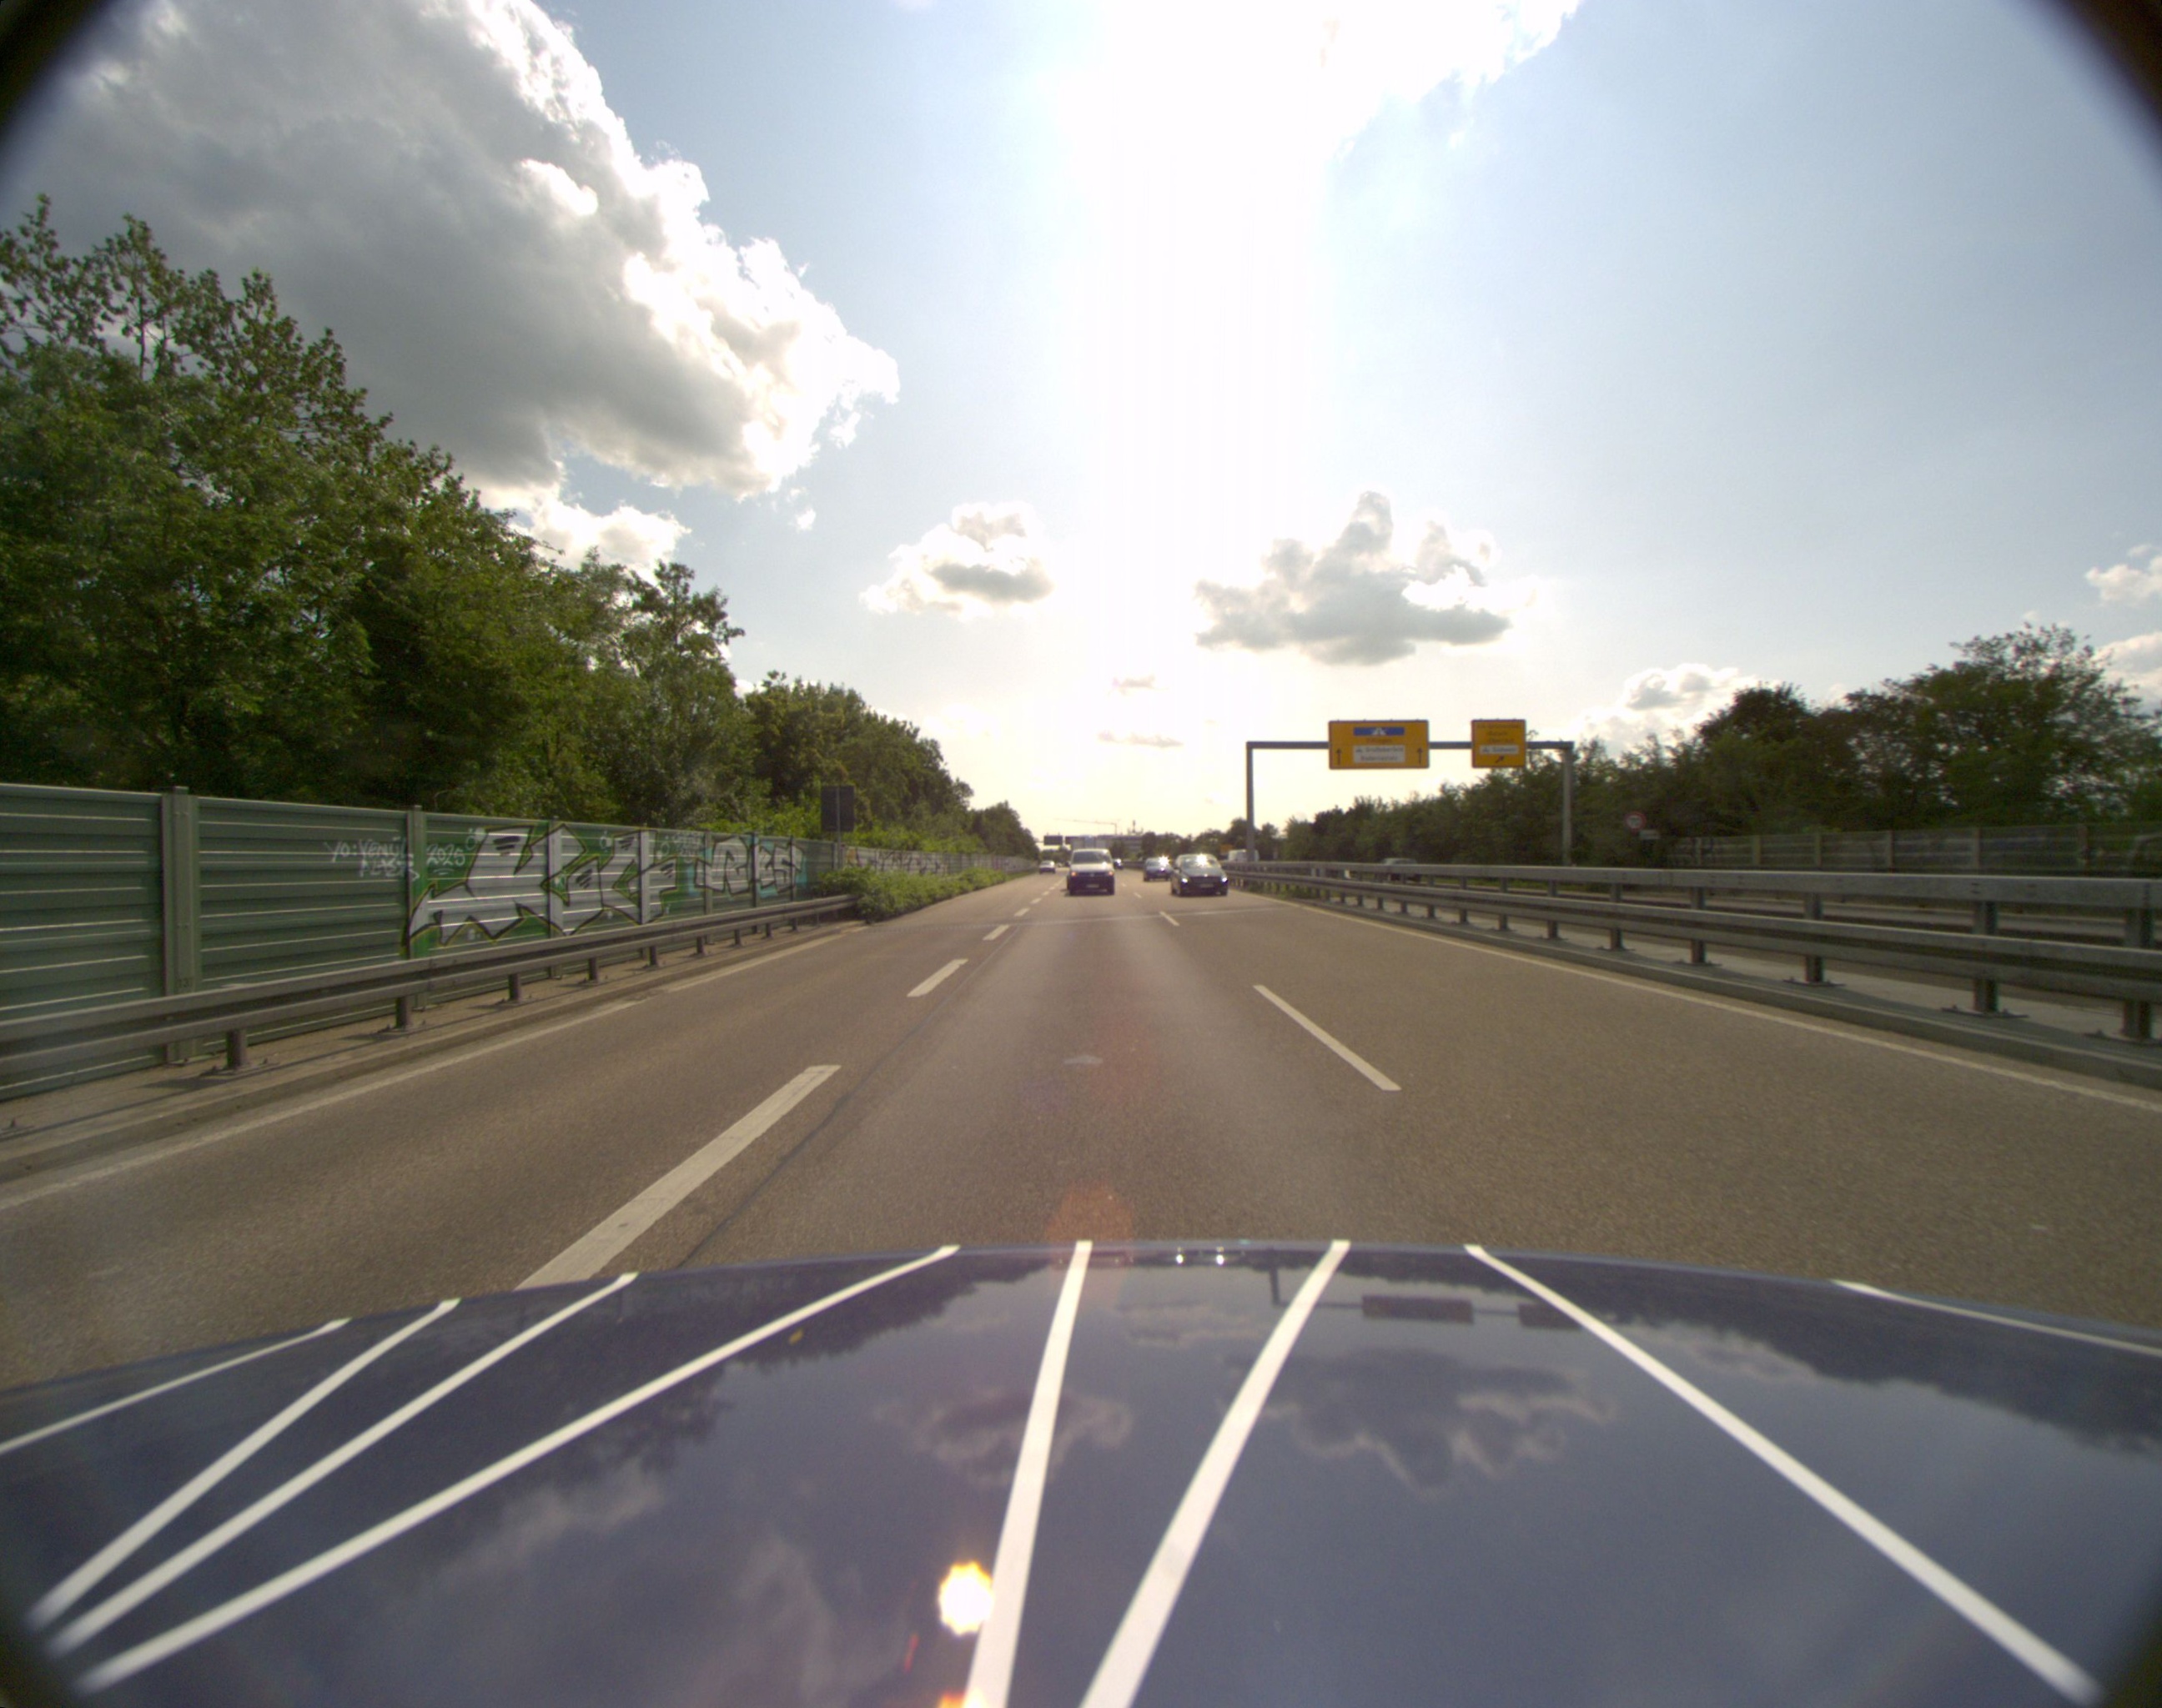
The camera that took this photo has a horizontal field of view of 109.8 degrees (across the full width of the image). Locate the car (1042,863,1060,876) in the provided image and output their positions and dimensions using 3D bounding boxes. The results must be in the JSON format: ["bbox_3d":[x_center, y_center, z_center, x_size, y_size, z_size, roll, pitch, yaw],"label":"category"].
[{"bbox_3d":[-3.420,1.749,86.707,1.768,1.403,3.771,-2,1,1],"label":"car"}]

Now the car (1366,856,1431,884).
[{"bbox_3d":[18.162,0.881,43.681,1.693,1.423,4.401,-2,1,-2],"label":"car"}]

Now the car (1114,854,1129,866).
[{"bbox_3d":[5.401,0.782,100.922,1.779,1.518,4.465,-2,1,1],"label":"car"}]

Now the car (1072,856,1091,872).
[{"bbox_3d":[0.056,0.999,80.246,1.895,1.518,4.465,-2,1,1],"label":"car"}]

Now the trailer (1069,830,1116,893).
[{"bbox_3d":[0.542,0.306,36.550,1.998,2.723,5.966,-2,1,1],"label":"trailer"}]

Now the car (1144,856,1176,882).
[{"bbox_3d":[4.890,0.909,47.353,1.625,1.403,3.771,-2,1,1],"label":"car"}]

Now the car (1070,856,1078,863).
[{"bbox_3d":[-1.566,1.279,182.933,1.768,1.403,3.771,-2,1,1],"label":"car"}]

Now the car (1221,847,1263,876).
[{"bbox_3d":[12.320,0.524,58.329,2.085,1.978,5.228,1,2,0],"label":"car"}]

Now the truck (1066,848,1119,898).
[{"bbox_3d":[0.478,0.721,31.504,2.008,1.905,4.000,-1,0,1],"label":"truck"}]

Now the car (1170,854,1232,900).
[{"bbox_3d":[4.558,0.828,29.455,1.716,1.518,4.592,-2,1,1],"label":"car"}]
